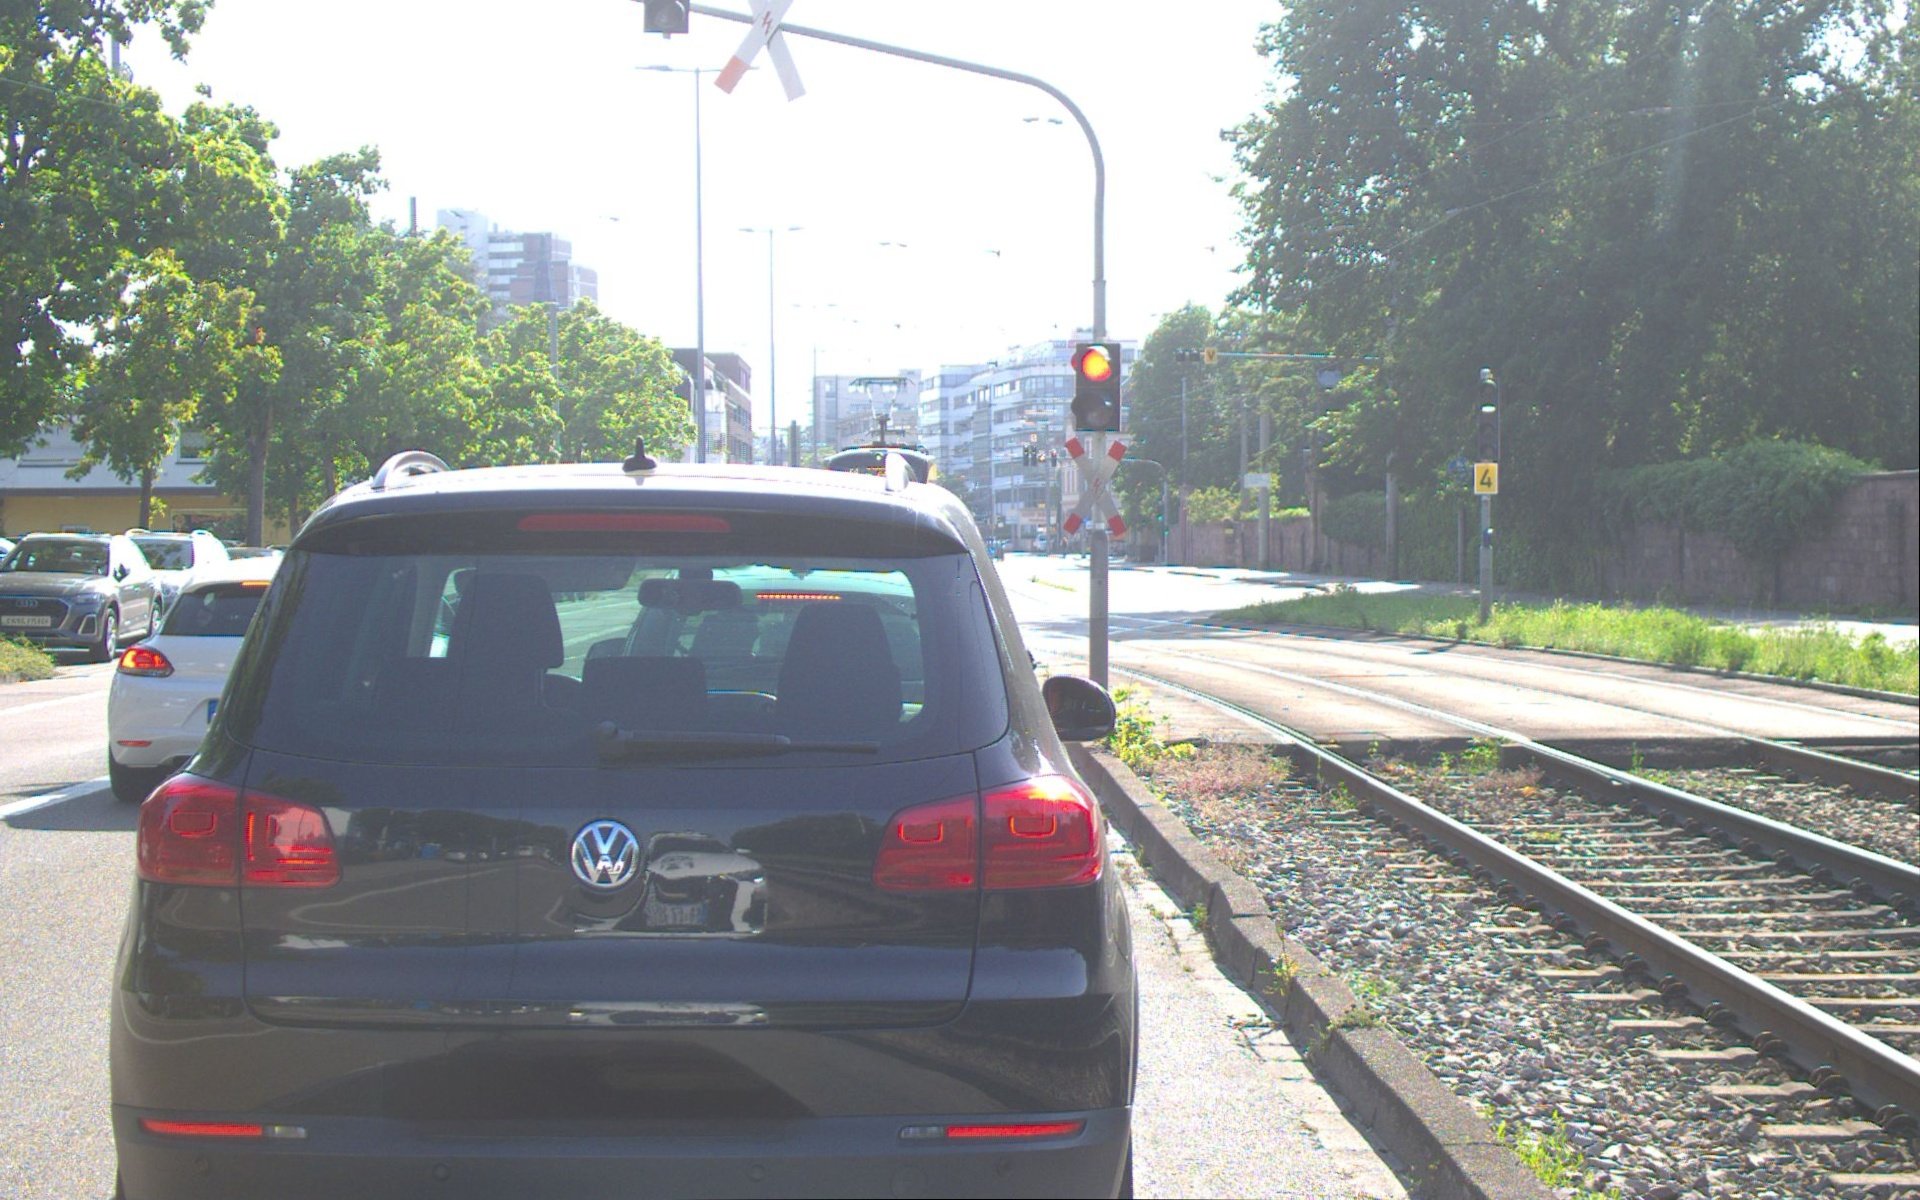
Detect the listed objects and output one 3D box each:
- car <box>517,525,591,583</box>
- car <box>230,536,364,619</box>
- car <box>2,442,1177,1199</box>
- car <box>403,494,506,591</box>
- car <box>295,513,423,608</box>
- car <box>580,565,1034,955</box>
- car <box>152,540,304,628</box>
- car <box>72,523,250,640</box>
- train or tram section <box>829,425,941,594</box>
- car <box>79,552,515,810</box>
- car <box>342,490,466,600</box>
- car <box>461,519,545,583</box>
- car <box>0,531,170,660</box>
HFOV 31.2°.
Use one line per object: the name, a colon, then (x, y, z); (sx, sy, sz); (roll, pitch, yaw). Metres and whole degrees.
car: (-12.518, -1.442, 106.228); (1.732, 1.689, 4.000); (-1, 2, 1)
car: (-12.384, -0.437, 64.382); (1.732, 1.445, 3.735); (-1, 2, 1)
car: (-0.599, 0.552, 7.332); (1.811, 1.639, 4.000); (0, 1, -1)
car: (-12.200, -1.412, 83.193); (1.732, 2.261, 4.645); (-1, 1, 1)
car: (-12.146, -0.821, 69.697); (1.732, 1.853, 4.489); (-1, 1, 1)
car: (-0.591, 0.575, 14.794); (1.669, 1.382, 4.000); (-1, 1, -1)
car: (-12.407, -0.294, 58.500); (1.732, 1.384, 3.735); (-1, 2, 1)
car: (-12.197, -0.317, 52.697); (1.732, 1.689, 4.000); (-1, 2, 1)
train or tram section: (-1.631, -2.013, 77.128); (2.326, 3.558, 8.901); (-1, 1, -1)
car: (-3.816, 0.408, 20.456); (1.864, 1.343, 4.000); (0, 1, -1)
car: (-12.311, -1.229, 76.365); (1.863, 2.339, 4.985); (-1, 1, 1)
car: (-12.588, -1.374, 94.842); (1.732, 1.689, 4.000); (-1, 2, 1)
car: (-12.076, -0.101, 46.670); (1.732, 1.652, 4.000); (-1, 1, 1)
